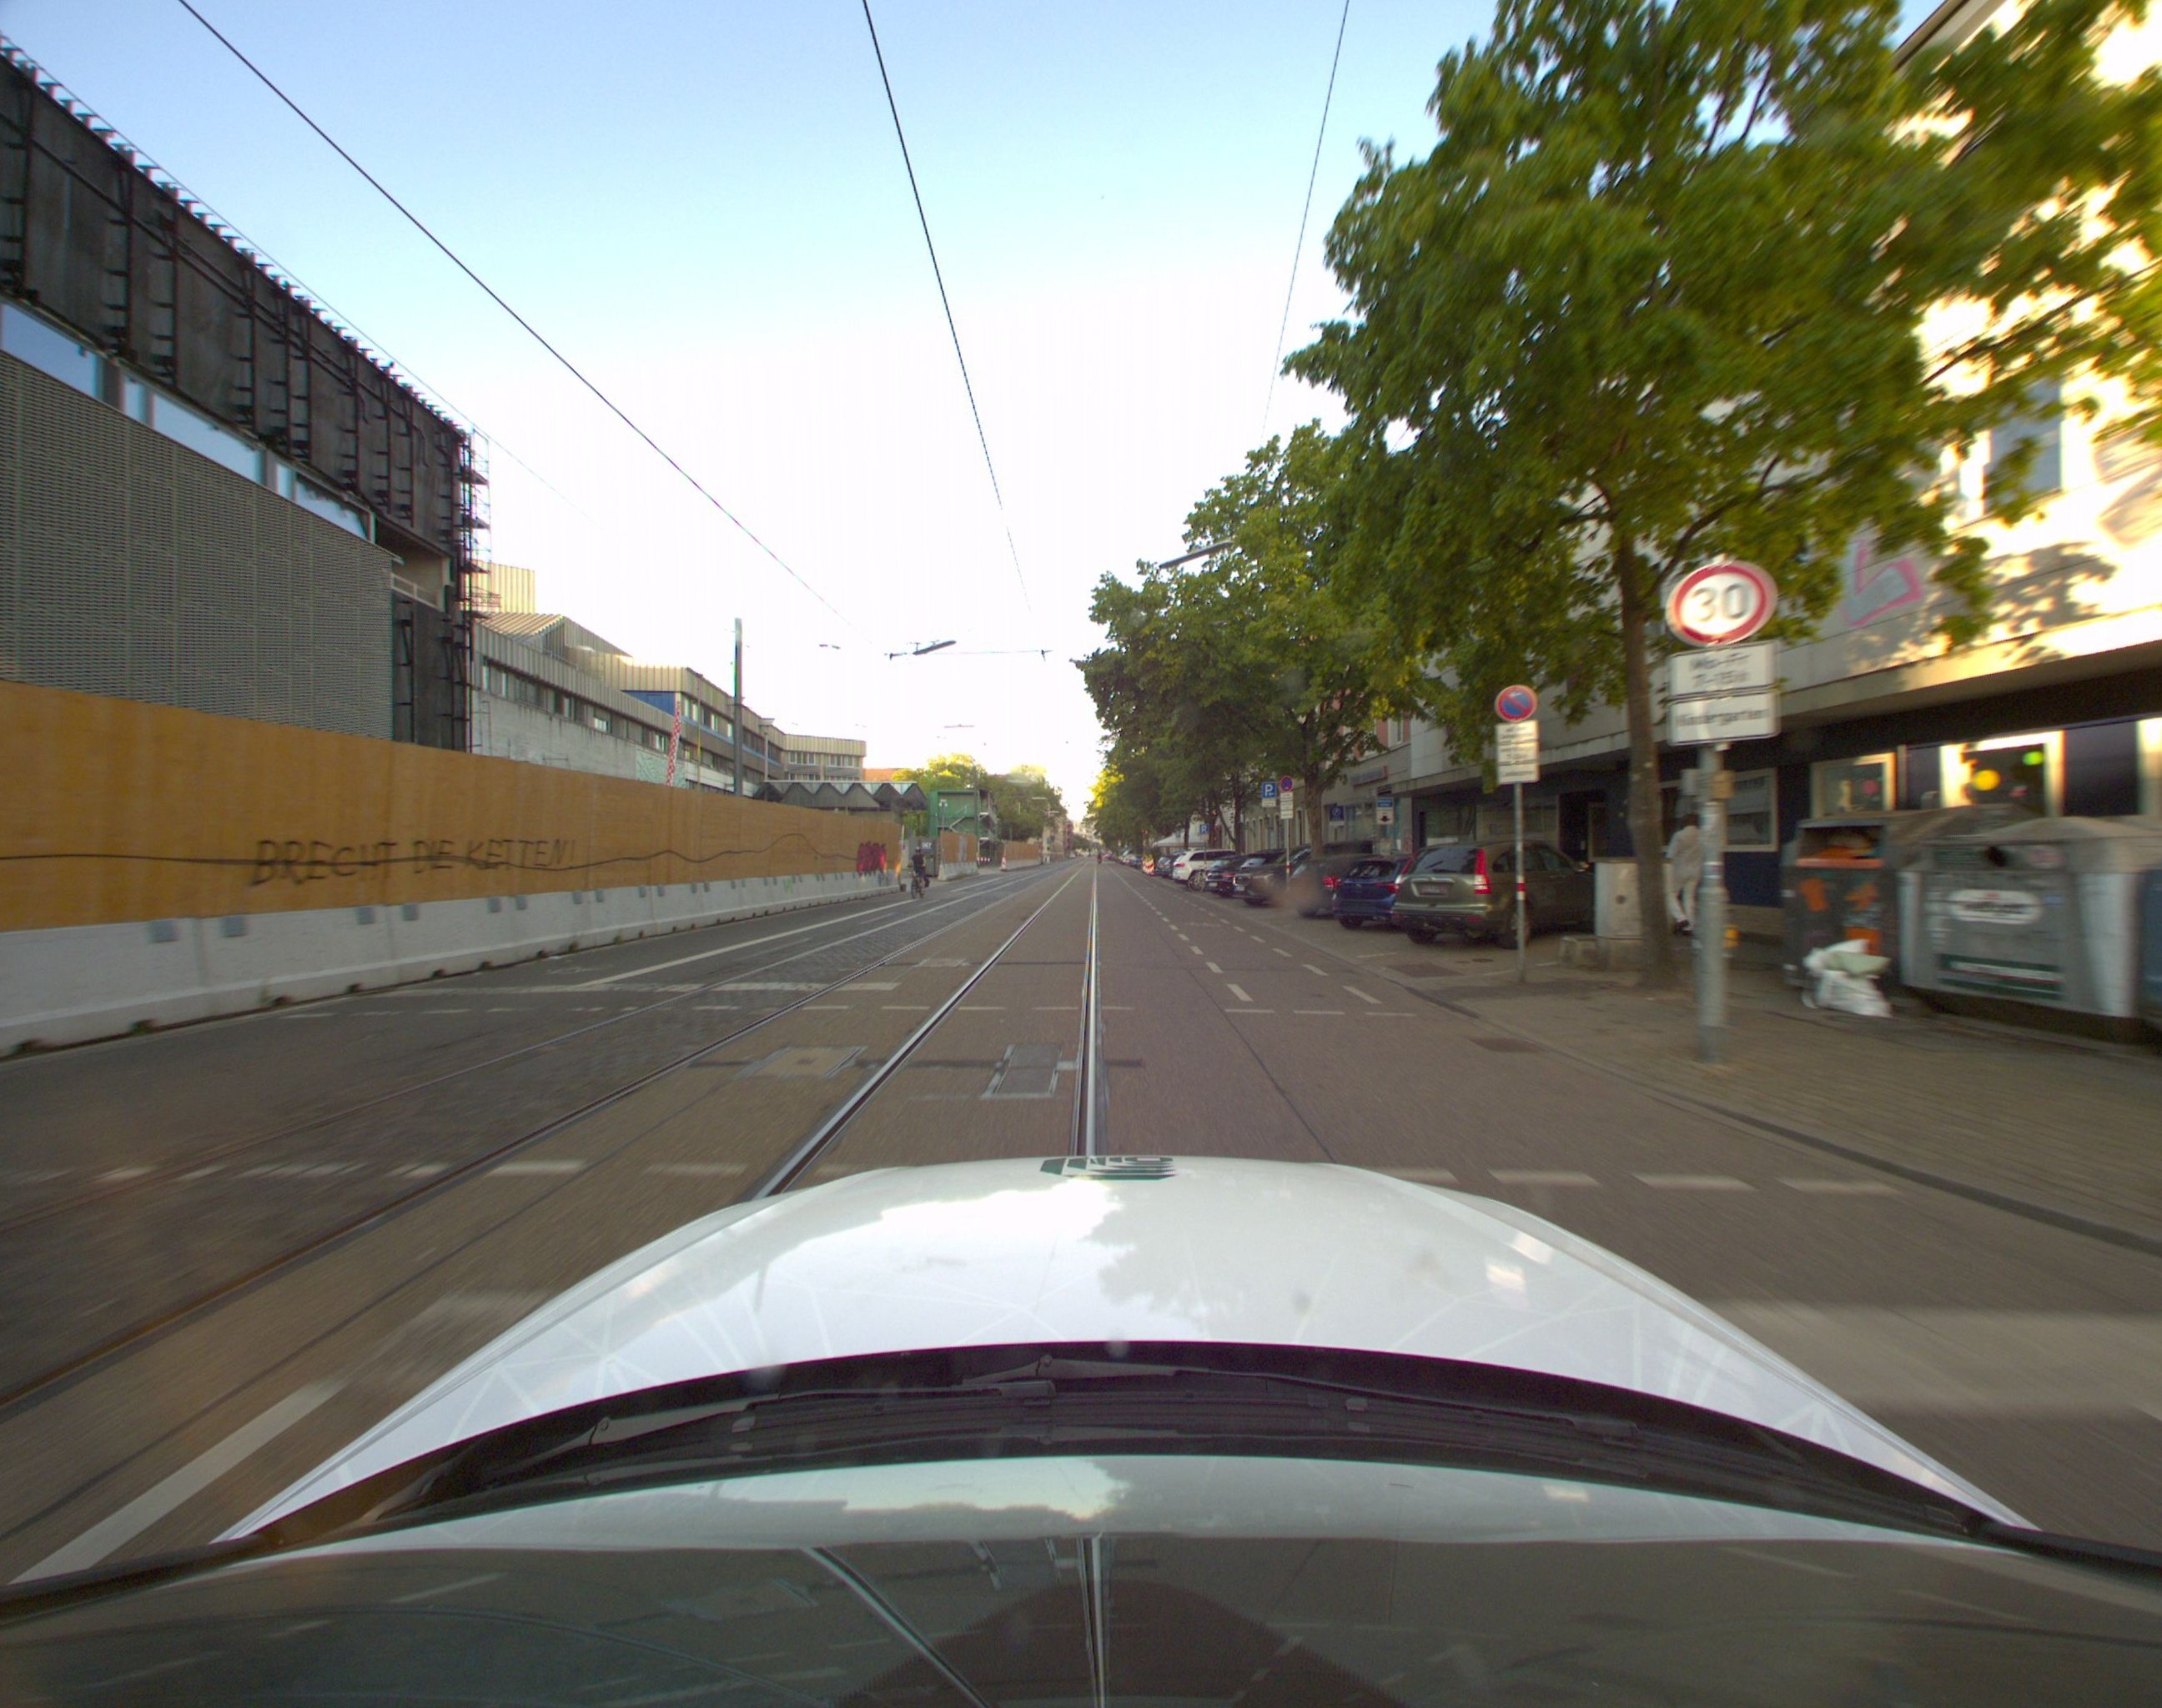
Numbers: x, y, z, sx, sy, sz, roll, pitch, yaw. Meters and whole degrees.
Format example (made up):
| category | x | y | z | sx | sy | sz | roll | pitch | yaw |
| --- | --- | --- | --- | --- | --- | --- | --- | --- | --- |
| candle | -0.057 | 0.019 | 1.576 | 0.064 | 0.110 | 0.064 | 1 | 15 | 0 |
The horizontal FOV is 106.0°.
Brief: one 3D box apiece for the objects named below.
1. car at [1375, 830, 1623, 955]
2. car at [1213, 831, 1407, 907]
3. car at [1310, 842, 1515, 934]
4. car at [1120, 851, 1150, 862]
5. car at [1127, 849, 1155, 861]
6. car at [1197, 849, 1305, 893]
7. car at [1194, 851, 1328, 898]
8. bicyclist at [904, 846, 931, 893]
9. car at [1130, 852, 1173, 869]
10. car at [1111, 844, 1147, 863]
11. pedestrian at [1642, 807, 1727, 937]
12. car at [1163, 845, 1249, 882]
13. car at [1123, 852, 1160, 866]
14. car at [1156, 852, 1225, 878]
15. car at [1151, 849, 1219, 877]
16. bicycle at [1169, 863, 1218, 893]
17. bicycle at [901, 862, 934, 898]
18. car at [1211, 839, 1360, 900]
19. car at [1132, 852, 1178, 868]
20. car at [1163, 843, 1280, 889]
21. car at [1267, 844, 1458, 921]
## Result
| category | x | y | z | sx | sy | sz | roll | pitch | yaw |
| --- | --- | --- | --- | --- | --- | --- | --- | --- | --- |
| car | 7.032 | 0.541 | 13.567 | 4.185 | 1.664 | 1.823 | -3 | 0 | -34 |
| car | 6.614 | 0.400 | 23.638 | 4.977 | 1.826 | 2.195 | -3 | 0 | -18 |
| car | 6.769 | 0.626 | 16.557 | 3.906 | 1.502 | 1.796 | -3 | 0 | -30 |
| car | 7.907 | 0.307 | 119.879 | 3.968 | 1.486 | 1.906 | -2 | -1 | -23 |
| car | 8.540 | 0.176 | 116.075 | 3.936 | 1.620 | 1.921 | -2 | -1 | 1 |
| car | 6.567 | 0.630 | 31.463 | 3.764 | 1.426 | 1.714 | -3 | 0 | -24 |
| car | 6.340 | 0.683 | 28.676 | 4.228 | 1.426 | 1.962 | -2 | 0 | -22 |
| bicyclist | -5.900 | 0.540 | 29.430 | 0.765 | 1.665 | 1.018 | 0 | 0 | 0 |
| car | 7.383 | 0.698 | 85.233 | 4.127 | 1.470 | 1.813 | -3 | 0 | -18 |
| car | 7.396 | -0.081 | 124.711 | 5.106 | 2.642 | 2.010 | -2 | -1 | -16 |
| pedestrian | 9.613 | 0.273 | 12.999 | 0.689 | 1.985 | 0.786 | -3 | 0 | 1 |
| car | 6.757 | 0.477 | 43.959 | 4.171 | 1.806 | 1.990 | -2 | 0 | -28 |
| car | 7.599 | 0.652 | 102.647 | 4.251 | 1.549 | 2.013 | -2 | 0 | -10 |
| car | 6.640 | 0.668 | 49.401 | 3.791 | 1.408 | 1.692 | -2 | 0 | -25 |
| car | 6.668 | 0.563 | 51.979 | 3.980 | 1.553 | 1.692 | -2 | 0 | -25 |
| bicycle | 4.582 | 0.965 | 33.170 | 1.837 | 1.102 | 0.496 | -3 | 1 | -13 |
| bicycle | -5.906 | 0.902 | 29.448 | 0.765 | 1.228 | 1.936 | 0 | 0 | 1 |
| car | 6.555 | 0.463 | 26.222 | 4.223 | 1.649 | 1.964 | -3 | 0 | -18 |
| car | 7.307 | 0.585 | 80.356 | 4.173 | 1.426 | 1.812 | -1 | 0 | -19 |
| car | 6.005 | 0.502 | 35.291 | 4.637 | 1.688 | 2.006 | -3 | 0 | -3 |
| car | 6.743 | 0.626 | 19.480 | 4.178 | 1.465 | 1.954 | -3 | 0 | -27 |
